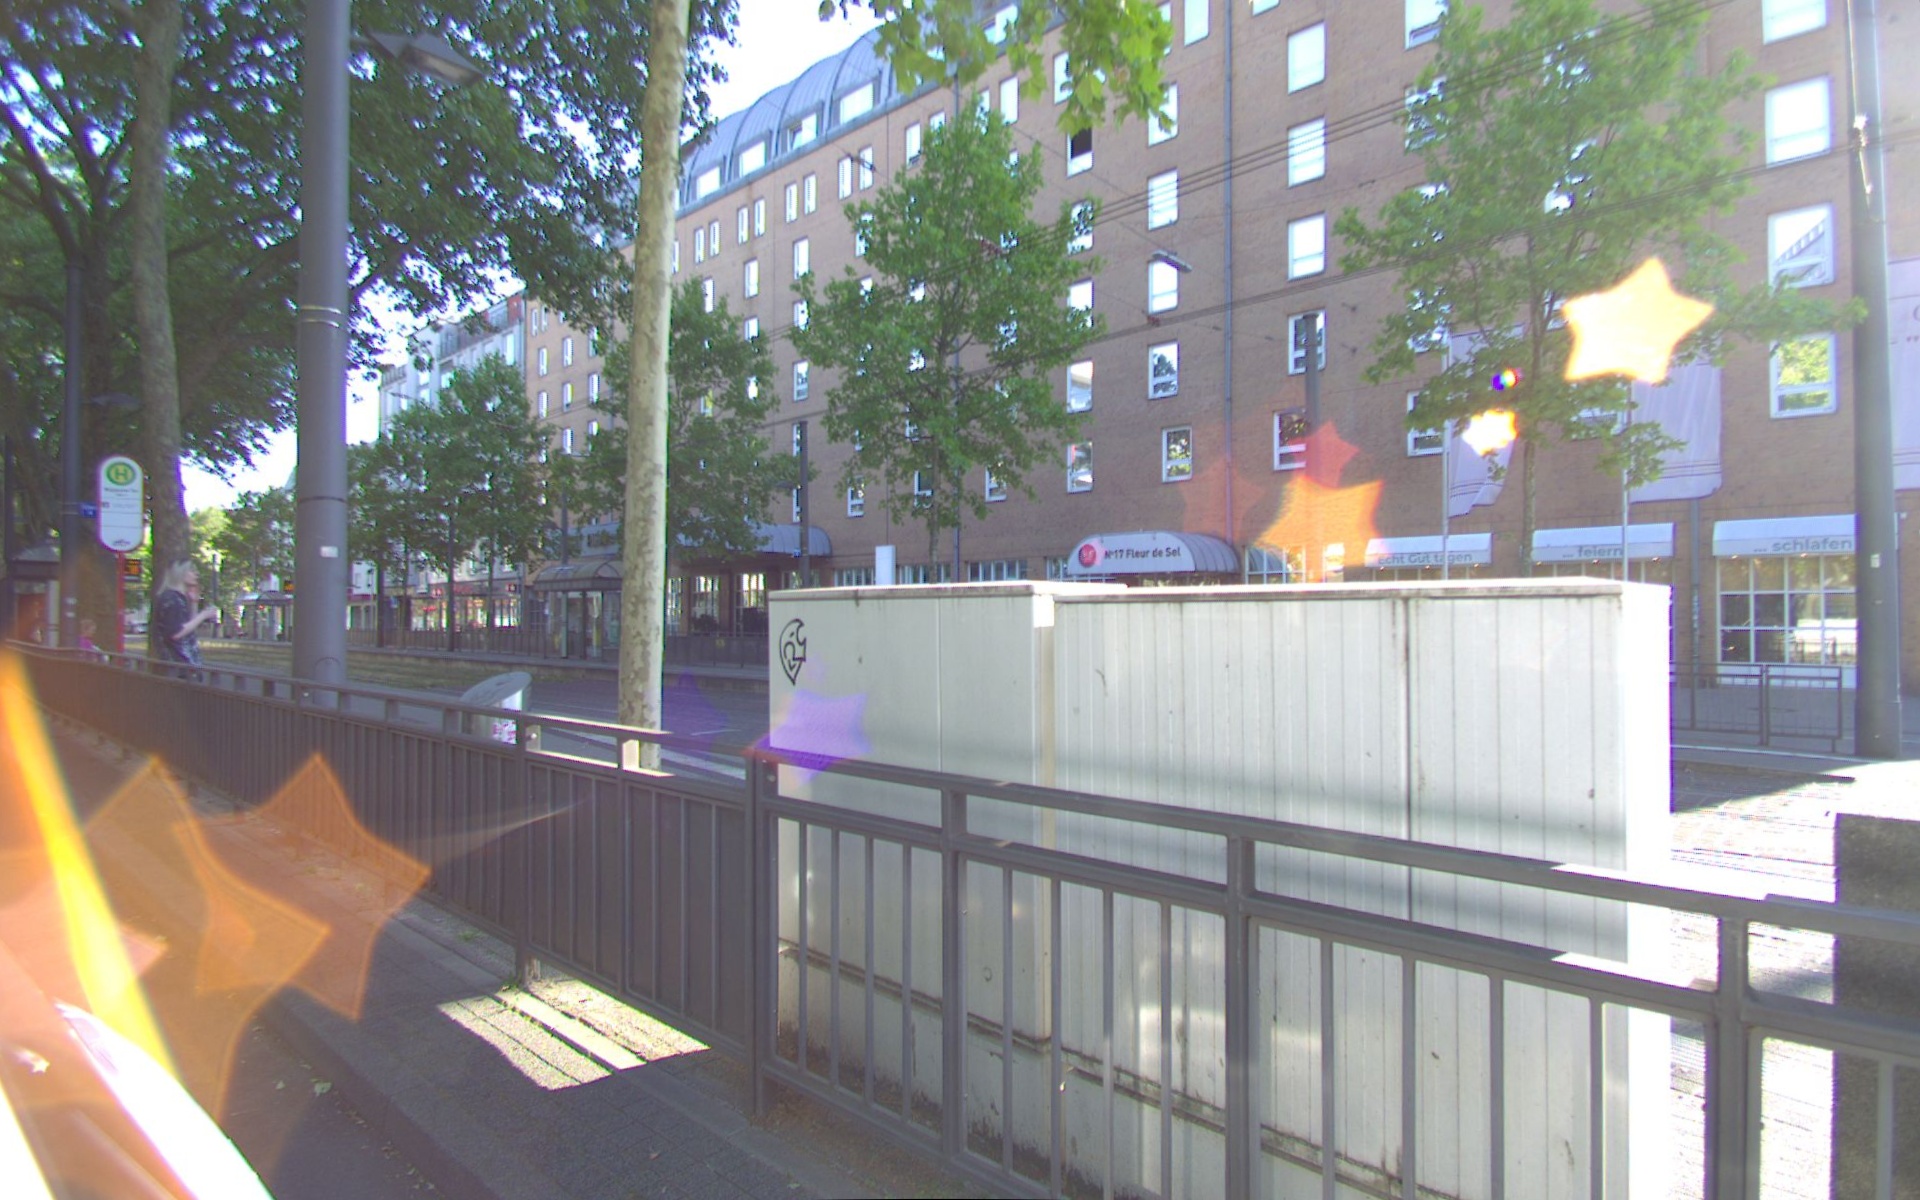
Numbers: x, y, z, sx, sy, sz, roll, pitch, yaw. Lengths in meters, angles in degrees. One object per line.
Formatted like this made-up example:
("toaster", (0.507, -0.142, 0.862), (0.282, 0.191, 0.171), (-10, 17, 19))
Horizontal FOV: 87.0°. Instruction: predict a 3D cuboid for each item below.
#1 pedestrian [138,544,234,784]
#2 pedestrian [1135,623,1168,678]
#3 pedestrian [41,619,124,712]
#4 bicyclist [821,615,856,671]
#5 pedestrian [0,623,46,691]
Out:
("pedestrian", (-6.532, 0.510, 8.536), (0.760, 1.914, 0.504), (-1, 0, 42))
("pedestrian", (5.731, 1.500, 30.267), (0.725, 1.596, 0.583), (-3, 0, 40))
("pedestrian", (-14.072, 1.020, 16.241), (0.965, 1.410, 0.665), (-1, 0, -44))
("bicyclist", (-3.972, 1.409, 33.055), (0.852, 1.799, 0.742), (-2, -3, 44))
("pedestrian", (-20.134, 1.210, 21.739), (0.725, 1.398, 0.641), (-1, 0, -44))
